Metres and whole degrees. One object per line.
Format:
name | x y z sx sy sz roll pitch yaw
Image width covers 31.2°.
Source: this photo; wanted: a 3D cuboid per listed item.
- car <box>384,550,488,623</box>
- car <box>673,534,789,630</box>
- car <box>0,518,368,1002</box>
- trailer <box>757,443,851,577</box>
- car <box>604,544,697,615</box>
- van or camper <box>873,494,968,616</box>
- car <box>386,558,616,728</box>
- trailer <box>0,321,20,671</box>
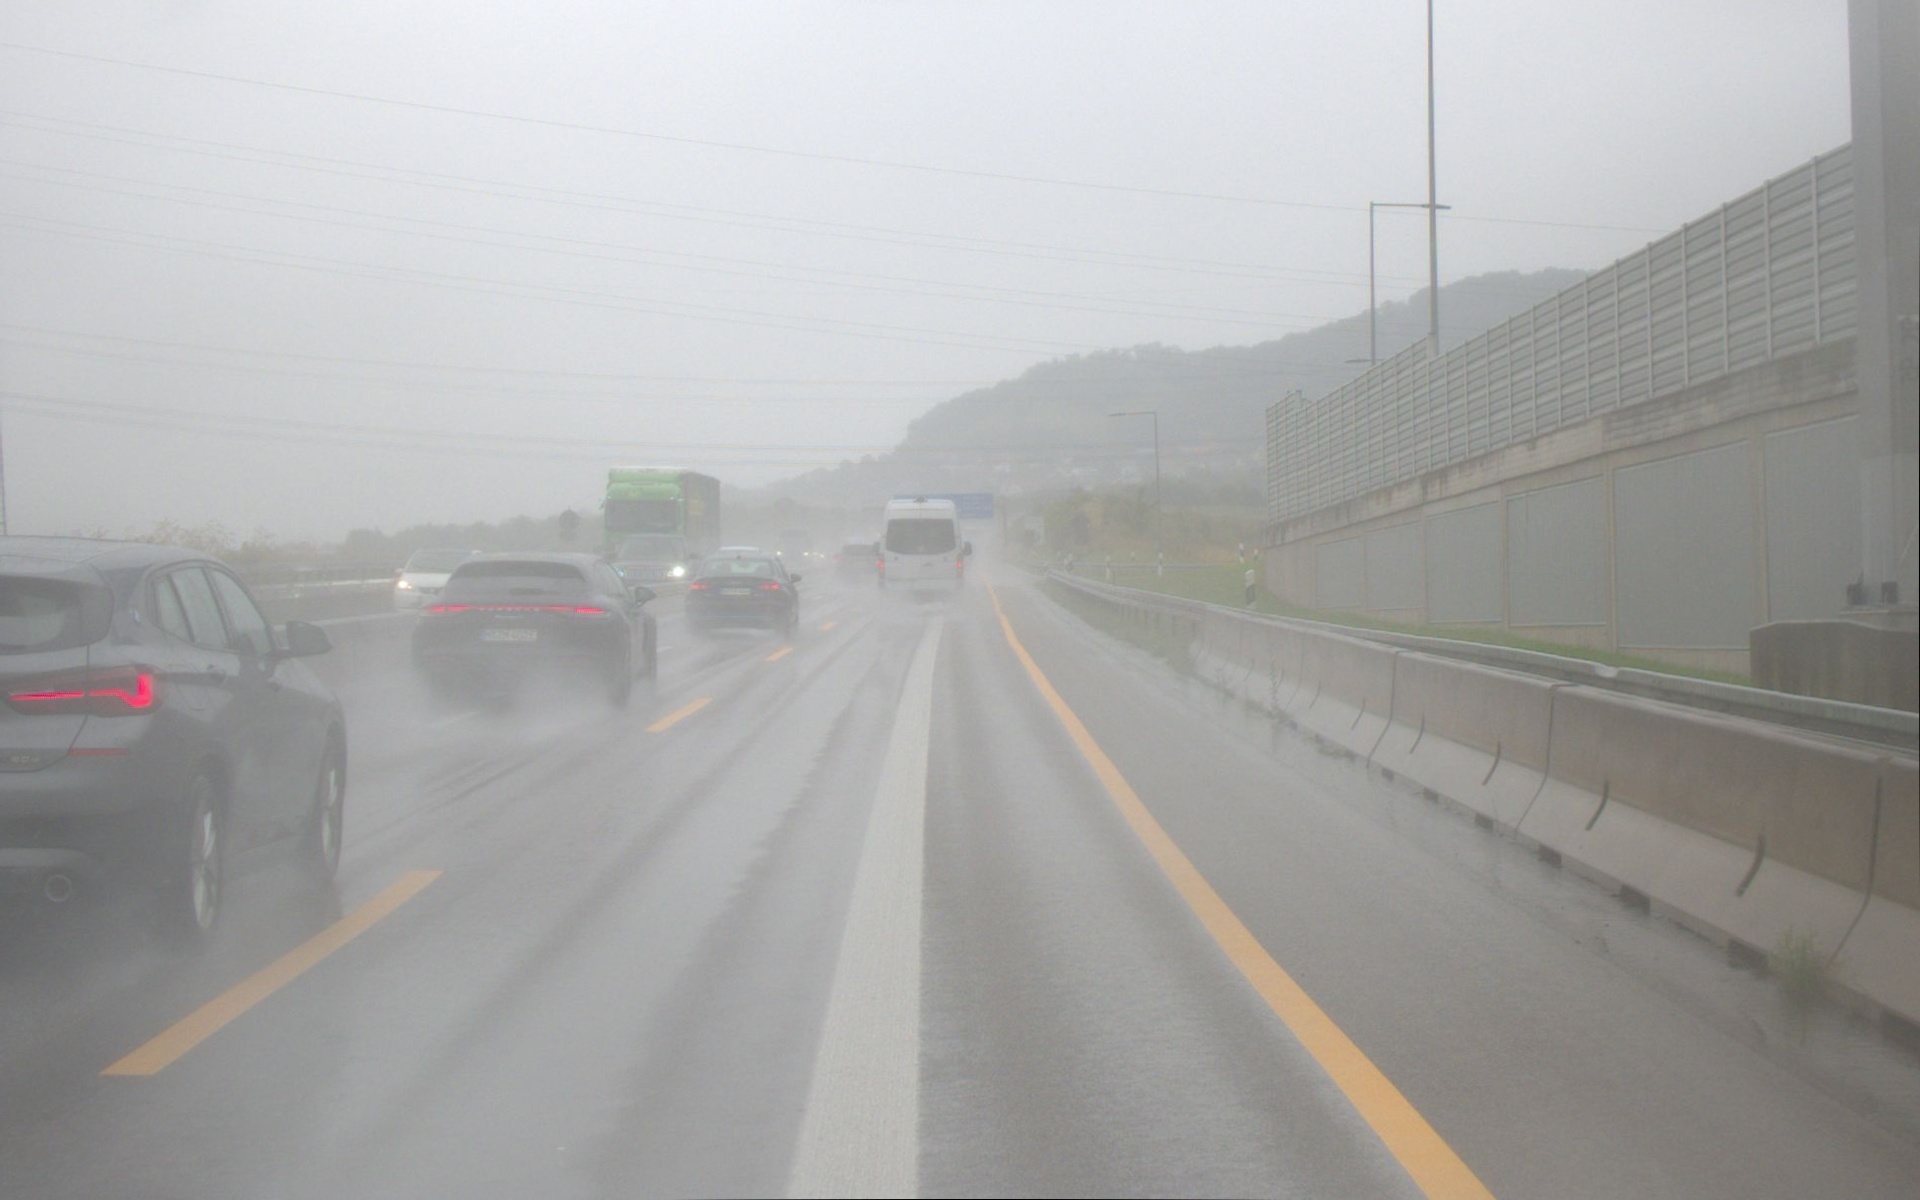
car | -10.604 -0.302 69.806 1.569 1.431 3.894 0 1 -1
car | -3.899 -0.333 58.568 1.844 1.486 4.262 -3 1 -4
car | -3.485 0.541 13.730 1.700 1.592 4.845 0 0 -4
trailer | -5.411 -3.108 121.167 2.581 4.442 13.553 0 1 0
car | -7.540 -0.524 84.119 1.898 1.681 4.741 0 1 -1
van or camper | -0.943 -1.013 80.241 1.996 2.768 4.050 0 0 -4
car | -4.230 0.393 32.234 1.844 1.486 4.262 0 0 -4
trailer | -10.493 -0.923 28.692 2.662 3.351 9.715 0 1 0
